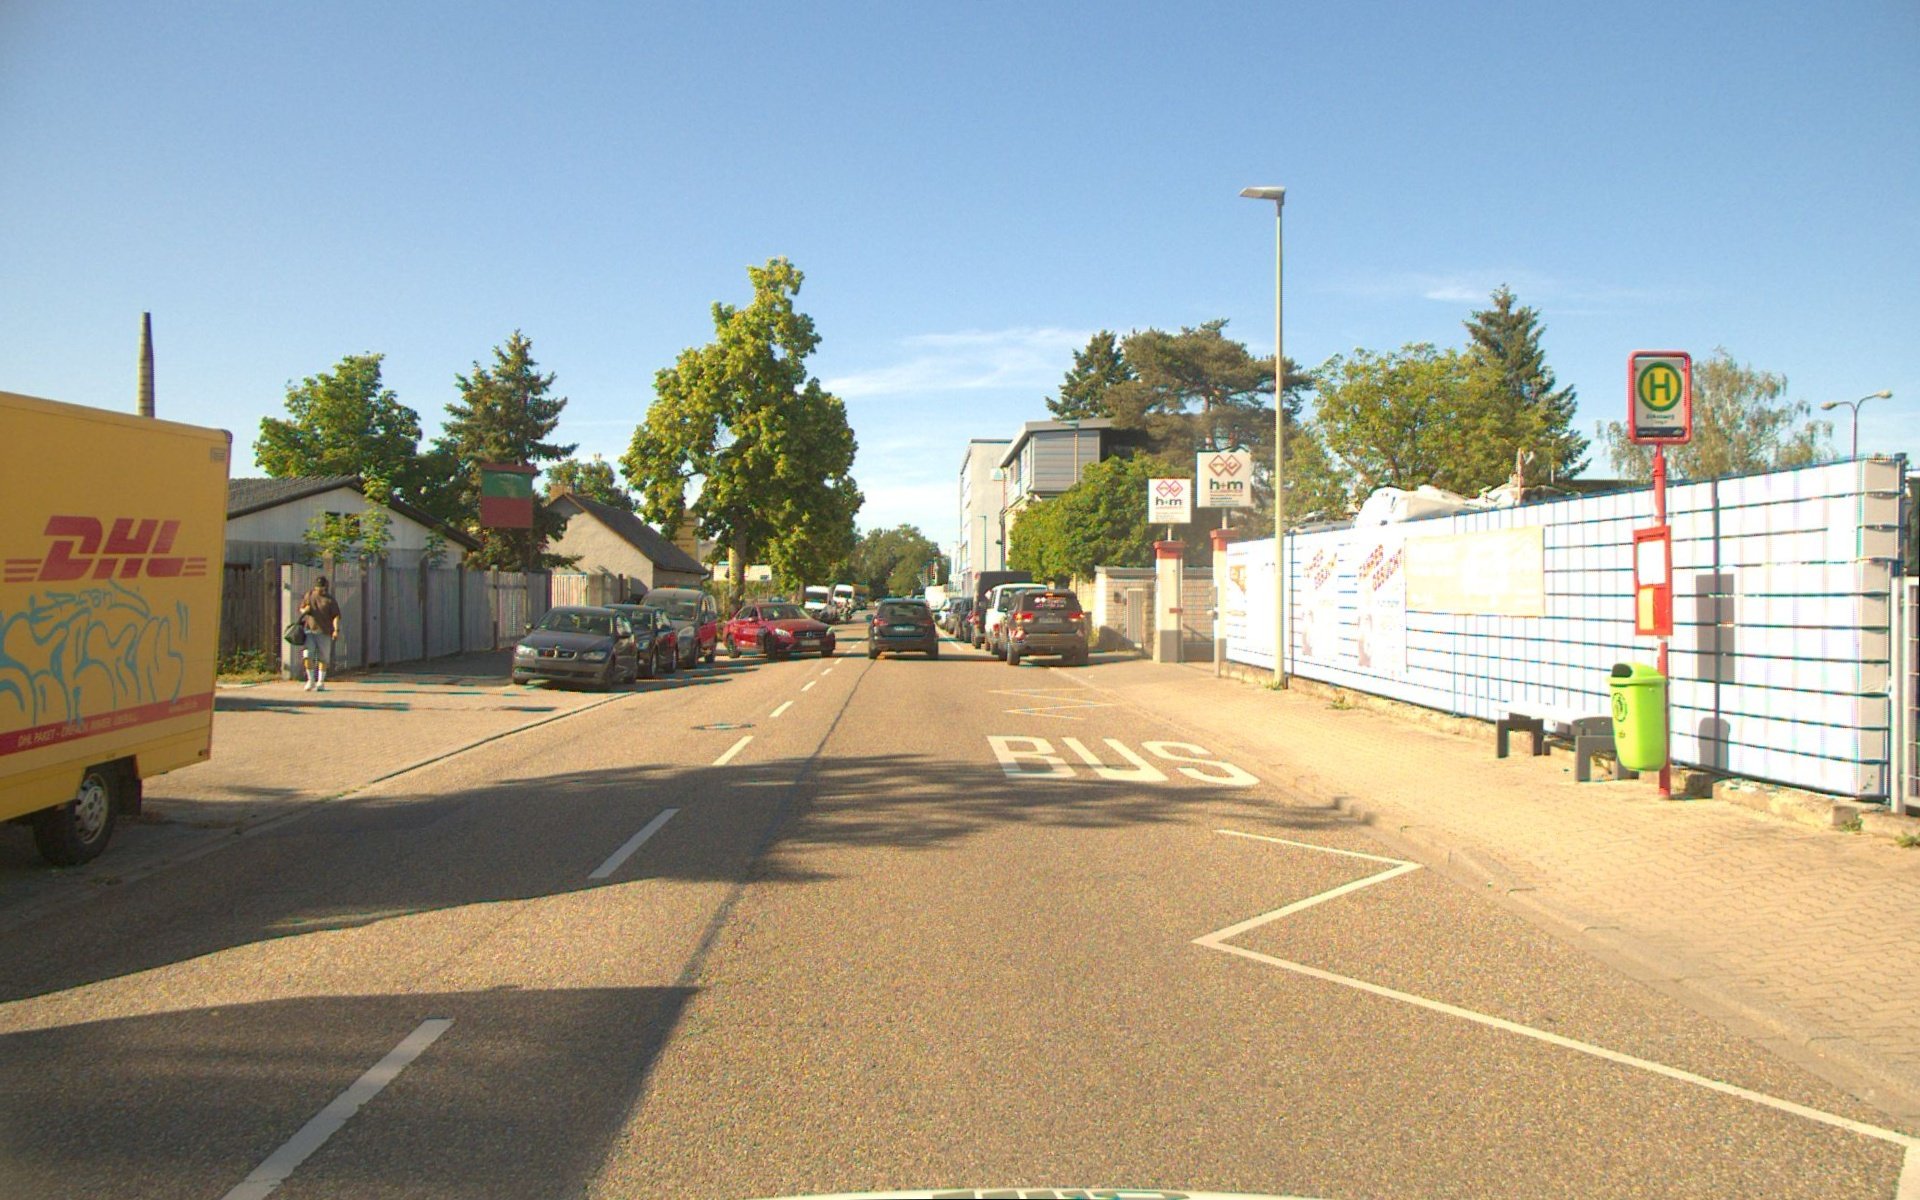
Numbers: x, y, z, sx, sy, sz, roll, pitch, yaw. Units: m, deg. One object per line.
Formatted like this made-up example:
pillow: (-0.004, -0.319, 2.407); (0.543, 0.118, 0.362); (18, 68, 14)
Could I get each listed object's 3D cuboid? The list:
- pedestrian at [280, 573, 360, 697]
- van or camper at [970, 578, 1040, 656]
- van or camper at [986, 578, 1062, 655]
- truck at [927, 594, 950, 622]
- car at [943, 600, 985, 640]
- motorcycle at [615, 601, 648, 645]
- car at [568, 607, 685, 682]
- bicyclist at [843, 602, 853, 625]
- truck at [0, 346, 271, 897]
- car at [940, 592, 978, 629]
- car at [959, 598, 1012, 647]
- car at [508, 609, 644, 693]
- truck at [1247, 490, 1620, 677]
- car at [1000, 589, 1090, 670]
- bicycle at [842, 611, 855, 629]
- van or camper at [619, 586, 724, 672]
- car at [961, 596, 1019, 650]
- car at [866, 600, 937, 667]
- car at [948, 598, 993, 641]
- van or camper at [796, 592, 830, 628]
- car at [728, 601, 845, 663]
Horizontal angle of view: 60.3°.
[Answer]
pedestrian: (-9.832, 0.523, 25.447); (0.979, 1.870, 0.918); (0, 0, -11)
van or camper: (1.360, 0.514, 51.694); (1.953, 2.351, 3.999); (0, 0, -2)
van or camper: (1.750, 0.446, 46.556); (1.880, 2.055, 4.078); (0, 0, -2)
truck: (-1.898, 0.686, 145.594); (1.953, 2.328, 6.953); (0, 0, -2)
car: (0.161, 0.929, 79.212); (1.880, 1.857, 4.078); (0, 0, -2)
motorcycle: (-11.300, 0.784, 56.996); (0.761, 1.470, 2.038); (0, 0, -1)
car: (-7.139, 0.916, 35.802); (1.659, 1.494, 4.173); (0, 0, 0)
bicyclist: (-7.360, 0.886, 108.839); (0.681, 1.566, 0.634); (0, 0, -4)
truck: (-6.209, 0.090, 9.044); (2.148, 2.952, 6.437); (2, 0, -1)
car: (-0.073, 0.546, 85.453); (1.880, 1.857, 4.078); (0, 0, -2)
car: (0.943, 0.855, 64.153); (1.880, 1.857, 4.078); (0, 0, -2)
car: (-7.063, 0.889, 30.832); (1.722, 1.428, 4.554); (0, 0, -3)
truck: (10.105, -0.315, 35.697); (7.231, 3.837, 2.829); (0, 0, -6)
car: (2.009, 0.685, 40.109); (1.880, 1.857, 4.078); (0, 0, -2)
bicycle: (-7.339, 1.301, 108.720); (0.812, 1.174, 2.938); (0, 0, -3)
van or camper: (-7.023, 0.698, 40.595); (1.852, 1.959, 4.265); (-1, -1, -1)
car: (1.023, 0.786, 59.076); (1.880, 1.857, 4.078); (0, 0, -2)
car: (-1.435, 0.804, 41.557); (1.677, 1.559, 3.687); (0, 0, -1)
car: (0.443, 0.848, 73.570); (1.880, 1.857, 4.078); (0, 0, -2)
van or camper: (-10.036, 0.653, 112.701); (2.278, 2.403, 6.520); (0, 0, -6)
car: (-4.653, 0.803, 43.861); (1.853, 1.511, 4.011); (-1, 1, -25)
